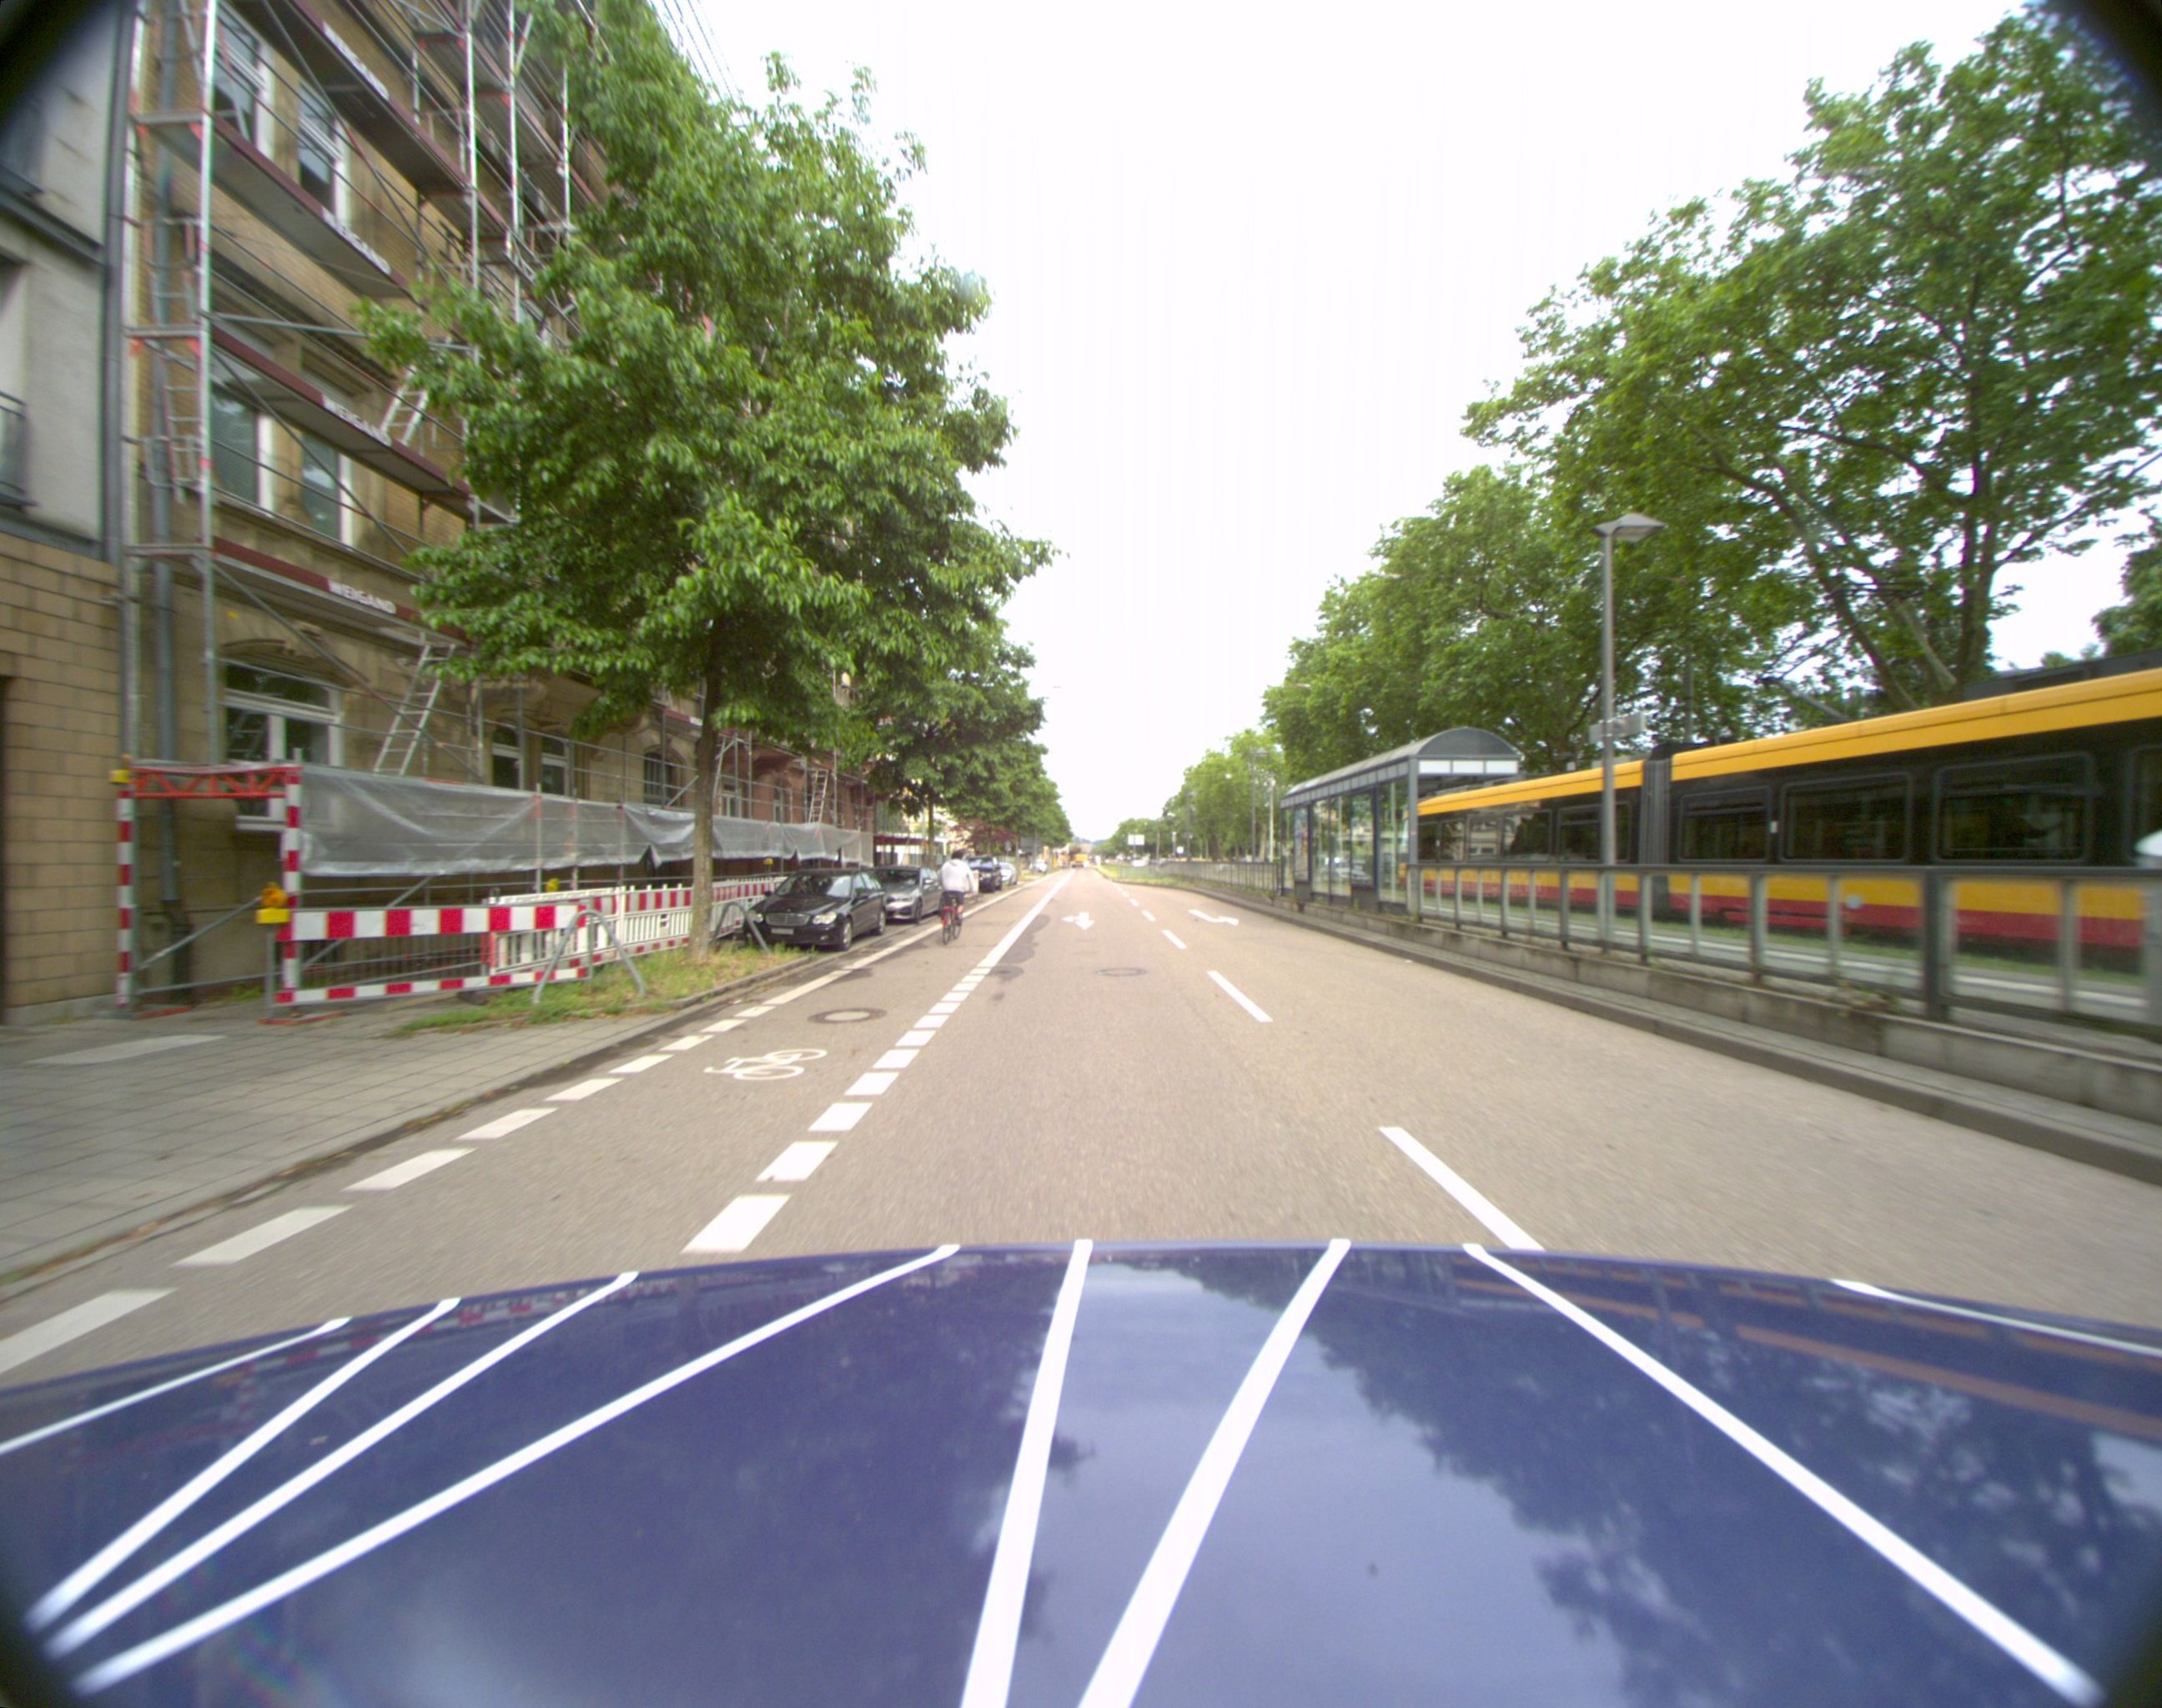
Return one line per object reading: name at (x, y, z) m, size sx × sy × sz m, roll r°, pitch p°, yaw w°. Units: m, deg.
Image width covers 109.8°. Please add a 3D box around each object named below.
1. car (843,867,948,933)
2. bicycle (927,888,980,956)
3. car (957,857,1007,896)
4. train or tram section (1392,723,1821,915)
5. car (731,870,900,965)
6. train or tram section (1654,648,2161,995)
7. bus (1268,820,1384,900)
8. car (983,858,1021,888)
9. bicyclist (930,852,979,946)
car at (-4.799, 1.135, 20.265) m, size 1.755 × 1.452 × 4.279 m, roll 1°, pitch 0°, yaw 0°
bicycle at (-2.455, 1.277, 14.853) m, size 0.613 × 1.116 × 2.050 m, roll -2°, pitch 0°, yaw 1°
car at (-4.721, 1.028, 36.744) m, size 1.837 × 1.720 × 4.279 m, roll 1°, pitch 0°, yaw 0°
train or tram section at (12.574, -0.687, 20.741) m, size 3.100 × 3.541 × 12.538 m, roll -2°, pitch 0°, yaw 1°
car at (-4.913, 1.100, 14.735) m, size 1.755 × 1.452 × 4.279 m, roll 1°, pitch 0°, yaw 0°
train or tram section at (12.449, -0.373, 6.605) m, size 3.067 × 3.511 × 15.771 m, roll -2°, pitch 0°, yaw 0°
bus at (6.831, 0.150, 21.648) m, size 1.998 × 2.002 × 4.000 m, roll -2°, pitch 0°, yaw 0°
car at (-4.741, 1.126, 46.036) m, size 1.837 × 1.685 × 3.762 m, roll 1°, pitch 0°, yaw 0°
bicyclist at (-2.494, 0.867, 15.014) m, size 0.751 × 1.776 × 0.838 m, roll -2°, pitch 1°, yaw 1°
